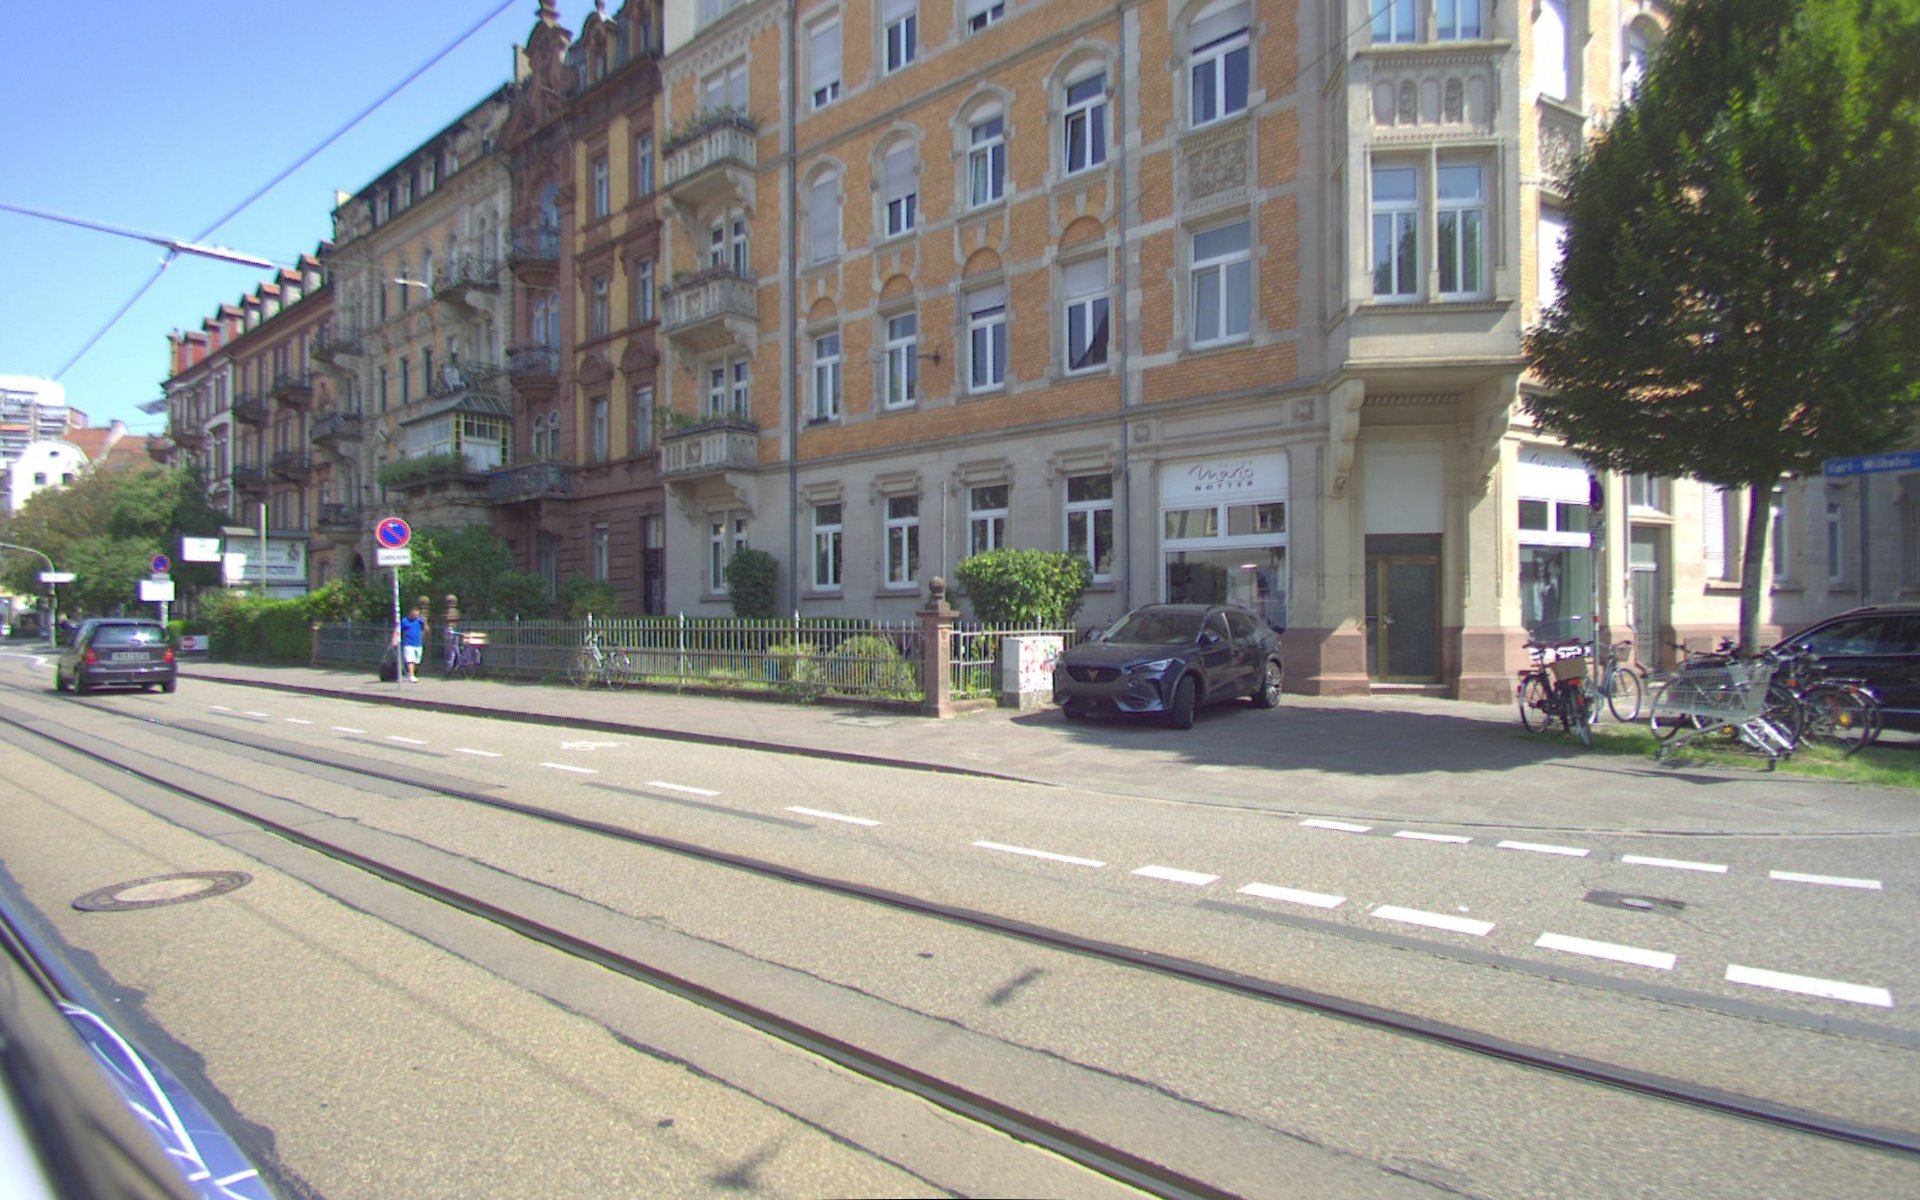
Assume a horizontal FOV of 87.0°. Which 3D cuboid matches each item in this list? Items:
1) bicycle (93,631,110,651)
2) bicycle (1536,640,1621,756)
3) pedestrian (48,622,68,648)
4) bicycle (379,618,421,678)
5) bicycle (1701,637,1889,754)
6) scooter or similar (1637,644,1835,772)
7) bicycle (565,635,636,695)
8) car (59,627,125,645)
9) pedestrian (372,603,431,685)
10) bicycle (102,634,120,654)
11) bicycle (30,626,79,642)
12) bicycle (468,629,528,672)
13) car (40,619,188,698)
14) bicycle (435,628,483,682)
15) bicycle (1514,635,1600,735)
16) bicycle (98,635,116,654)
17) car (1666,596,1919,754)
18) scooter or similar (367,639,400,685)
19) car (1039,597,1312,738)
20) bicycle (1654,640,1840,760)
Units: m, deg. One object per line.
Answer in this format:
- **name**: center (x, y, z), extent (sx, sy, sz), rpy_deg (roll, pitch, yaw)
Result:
- **bicycle**: center (-45.613, 2.167, 53.755), extent (1.778, 1.029, 0.482), rpy_deg (-2, -2, 43)
- **bicycle**: center (6.565, 1.005, 10.789), extent (0.387, 1.107, 1.443), rpy_deg (-1, -1, 17)
- **pedestrian**: center (-72.193, 2.810, 80.992), extent (1.035, 2.029, 1.080), rpy_deg (-1, 0, 40)
- **bicycle**: center (-13.709, 1.165, 24.775), extent (1.581, 1.416, 0.386), rpy_deg (-2, -2, 41)
- **bicycle**: center (8.649, 0.951, 10.550), extent (0.384, 1.107, 1.456), rpy_deg (0, -1, -25)
- **scooter or similar**: center (7.407, 0.989, 9.707), extent (0.589, 1.107, 1.391), rpy_deg (0, -1, -40)
- **bicycle**: center (-6.699, 1.187, 18.816), extent (1.832, 1.046, 0.386), rpy_deg (-2, -2, 41)
- **car**: center (-84.721, 3.492, 98.814), extent (4.559, 1.739, 2.003), rpy_deg (0, -2, -6)
- **pedestrian**: center (-12.351, 0.962, 22.384), extent (0.869, 1.769, 0.874), rpy_deg (-1, -2, 40)
- **bicycle**: center (-42.306, 2.172, 50.409), extent (1.657, 0.994, 0.482), rpy_deg (-2, -2, 43)
- **bicycle**: center (-86.135, 3.209, 96.289), extent (3.433, 1.447, 1.223), rpy_deg (0, -2, -3)
- **bicycle**: center (-11.787, 1.272, 25.856), extent (0.391, 1.040, 1.386), rpy_deg (-2, -2, 37)
- **car**: center (-18.319, 1.206, 21.863), extent (3.997, 1.552, 1.808), rpy_deg (-2, -2, 41)
- **bicycle**: center (-11.197, 1.219, 22.619), extent (1.581, 1.156, 0.386), rpy_deg (-2, -2, 41)
- **bicycle**: center (7.186, 0.993, 12.167), extent (1.428, 1.107, 0.391), rpy_deg (0, -1, -39)
- **bicycle**: center (-43.572, 2.246, 51.697), extent (1.657, 0.949, 0.482), rpy_deg (-2, -2, 43)
- **car**: center (11.077, 0.824, 11.675), extent (1.966, 1.701, 4.373), rpy_deg (1, -2, -29)
- **scooter or similar**: center (-12.865, 1.365, 22.575), extent (0.582, 0.990, 0.397), rpy_deg (-1, 0, 32)
- **car**: center (3.038, 0.780, 13.720), extent (1.878, 1.606, 4.058), rpy_deg (-1, -1, 41)
- **bicycle**: center (7.979, 0.974, 10.327), extent (0.384, 1.107, 1.456), rpy_deg (0, -1, -25)
